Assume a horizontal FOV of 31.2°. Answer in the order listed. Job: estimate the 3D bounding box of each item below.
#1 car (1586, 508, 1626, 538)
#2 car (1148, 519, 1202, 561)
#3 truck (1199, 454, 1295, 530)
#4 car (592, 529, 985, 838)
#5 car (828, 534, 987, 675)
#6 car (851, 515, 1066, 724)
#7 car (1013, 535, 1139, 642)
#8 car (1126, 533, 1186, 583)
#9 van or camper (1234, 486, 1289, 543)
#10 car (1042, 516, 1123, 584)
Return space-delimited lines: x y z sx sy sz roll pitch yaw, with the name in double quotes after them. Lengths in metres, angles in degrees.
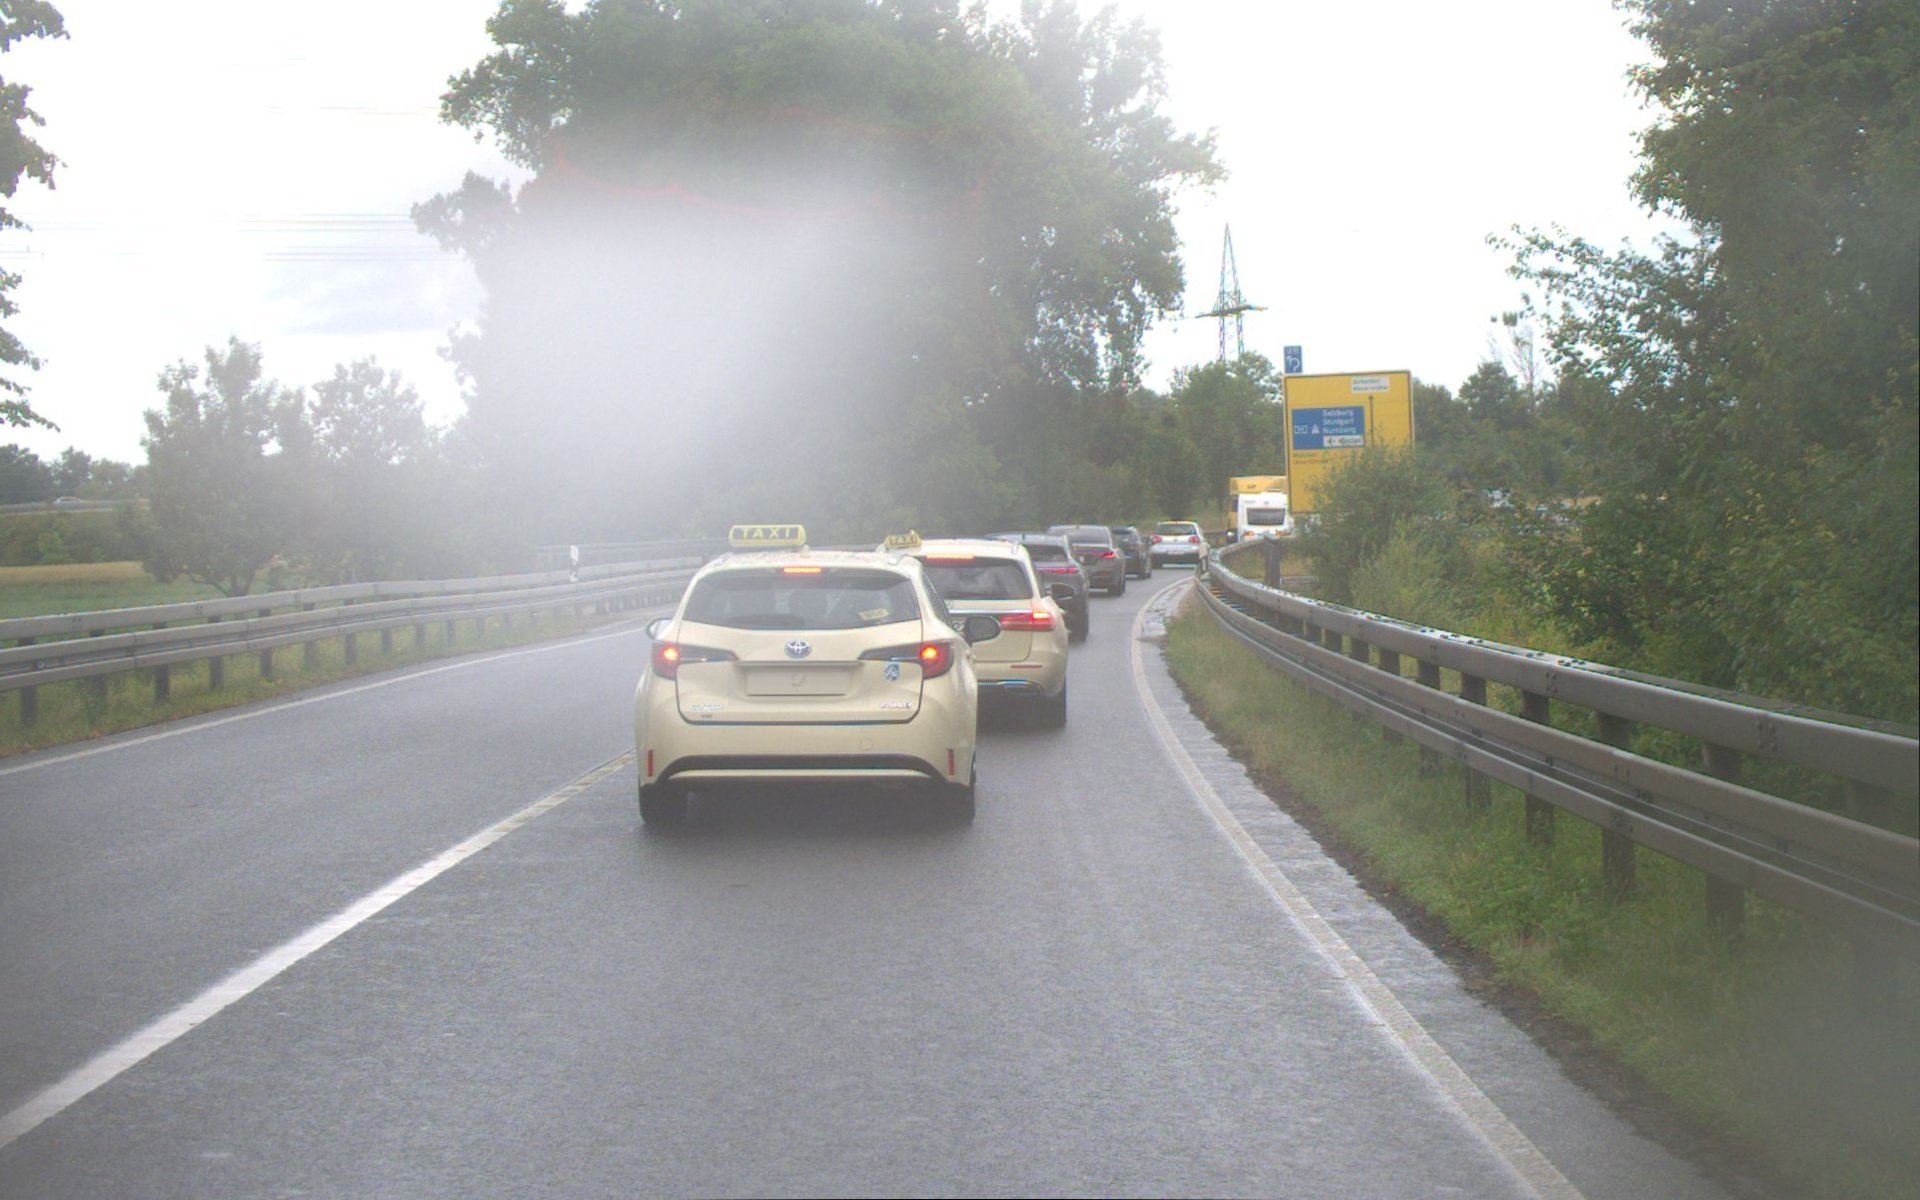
41.000 -4.870 218.184 1.820 1.831 3.984 1 1 21 "car"
6.797 -1.905 108.590 1.483 1.304 3.476 0 1 7 "car"
13.750 -5.199 163.911 2.773 3.417 9.181 2 3 16 "truck"
-0.832 0.372 19.096 1.906 1.532 4.161 0 1 1 "car"
-0.533 0.014 37.064 1.506 1.432 3.355 0 1 3 "car"
0.044 0.111 27.700 1.578 1.567 3.681 0 1 2 "car"
1.602 -0.192 48.534 1.665 1.459 3.477 0 1 0 "car"
5.251 -1.123 91.784 1.483 1.304 3.476 0 1 5 "car"
12.112 -3.421 137.902 1.994 2.246 3.999 0 1 8 "van or camper"
2.617 -1.046 73.026 1.660 1.404 3.904 0 0 3 "car"
